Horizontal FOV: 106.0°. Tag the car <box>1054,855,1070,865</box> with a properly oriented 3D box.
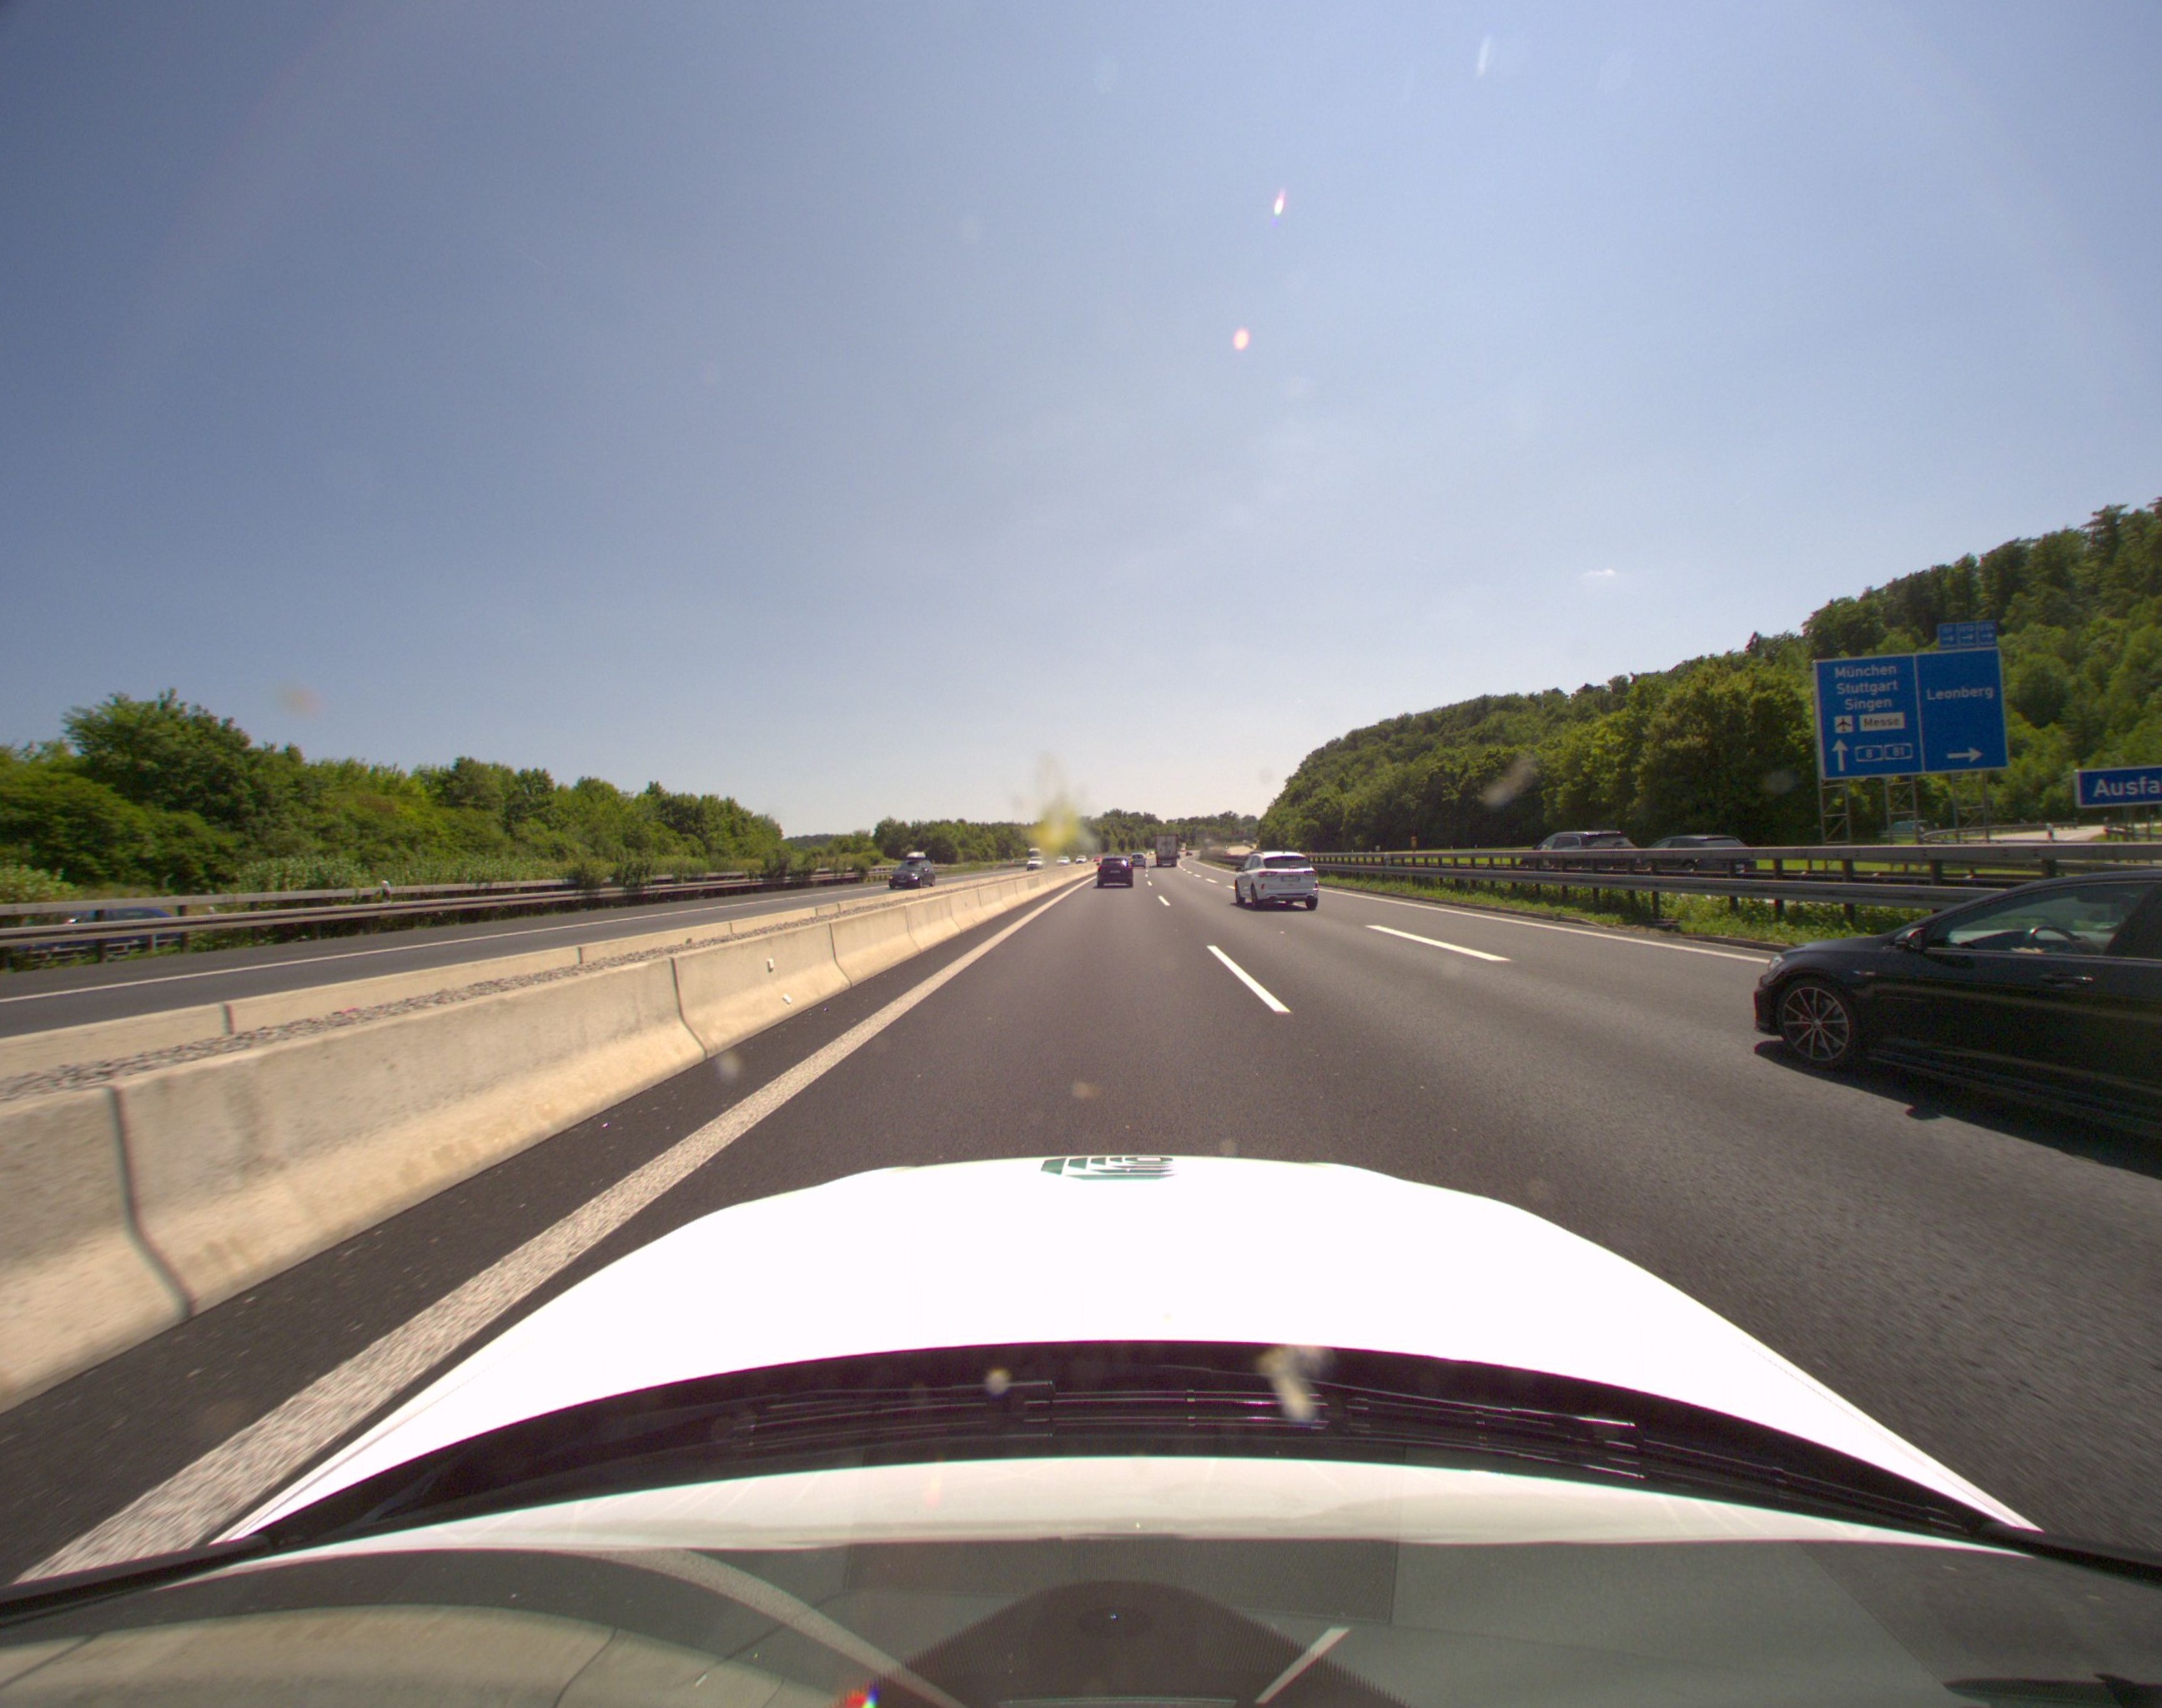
[{"bbox_3d":[-2.889,0.956,126.336,1.984,1.543,5.047,-2,-1,4],"label":"car"}]

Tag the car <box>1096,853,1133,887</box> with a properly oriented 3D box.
[{"bbox_3d":[1.674,0.804,41.740,1.773,1.577,4.000,-1,-1,0],"label":"car"}]

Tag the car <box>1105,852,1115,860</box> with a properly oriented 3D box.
[{"bbox_3d":[7.080,0.554,196.362,1.983,1.824,4.913,-2,-1,6],"label":"car"}]

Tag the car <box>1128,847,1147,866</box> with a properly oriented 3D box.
[{"bbox_3d":[6.609,0.227,95.034,1.984,2.013,4.006,-5,0,5],"label":"car"}]

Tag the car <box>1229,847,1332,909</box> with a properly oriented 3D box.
[{"bbox_3d":[5.915,0.672,24.732,1.987,1.662,4.467,-1,-1,0],"label":"car"}]

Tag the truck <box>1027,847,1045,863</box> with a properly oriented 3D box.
[{"bbox_3d":[-10.393,0.178,188.558,3.066,3.503,5.421,-2,-1,7],"label":"truck"}]

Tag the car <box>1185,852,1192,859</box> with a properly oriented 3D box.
[{"bbox_3d":[32.257,0.382,244.336,1.981,2.014,4.012,-2,-1,11],"label":"car"}]

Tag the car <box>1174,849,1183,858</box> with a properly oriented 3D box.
[{"bbox_3d":[22.603,-0.121,189.532,1.983,2.014,4.007,-2,-1,6],"label":"car"}]

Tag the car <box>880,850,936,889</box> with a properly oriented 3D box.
[{"bbox_3d":[-9.915,0.872,47.083,1.986,2.081,4.706,-2,0,2],"label":"car"}]

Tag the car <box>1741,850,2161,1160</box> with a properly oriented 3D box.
[{"bbox_3d":[5.967,0.705,4.272,1.788,1.435,3.965,-1,-1,0],"label":"car"}]

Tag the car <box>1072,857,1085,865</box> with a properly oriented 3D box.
[{"bbox_3d":[-0.447,1.321,150.845,1.841,1.394,4.006,0,0,6],"label":"car"}]

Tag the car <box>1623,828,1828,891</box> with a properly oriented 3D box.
[{"bbox_3d":[19.167,0.170,24.626,1.987,1.662,5.226,-1,-1,-1],"label":"car"}]

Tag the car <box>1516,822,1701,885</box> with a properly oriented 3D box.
[{"bbox_3d":[15.881,0.007,25.018,1.987,1.662,5.624,-1,-1,-1],"label":"car"}]

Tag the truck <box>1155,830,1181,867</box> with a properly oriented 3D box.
[{"bbox_3d":[11.155,-0.672,104.894,3.017,4.418,12.037,-2,-1,6],"label":"truck"}]

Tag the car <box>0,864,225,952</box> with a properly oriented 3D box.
[{"bbox_3d":[-24.293,1.241,19.893,1.987,1.857,4.429,-3,0,0],"label":"car"}]

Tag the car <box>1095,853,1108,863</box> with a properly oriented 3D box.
[{"bbox_3d":[3.707,0.759,145.404,1.984,1.659,4.641,-2,-1,5],"label":"car"}]

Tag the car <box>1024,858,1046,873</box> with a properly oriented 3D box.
[{"bbox_3d":[-5.425,1.321,96.994,1.859,1.666,4.671,-2,-1,6],"label":"car"}]
